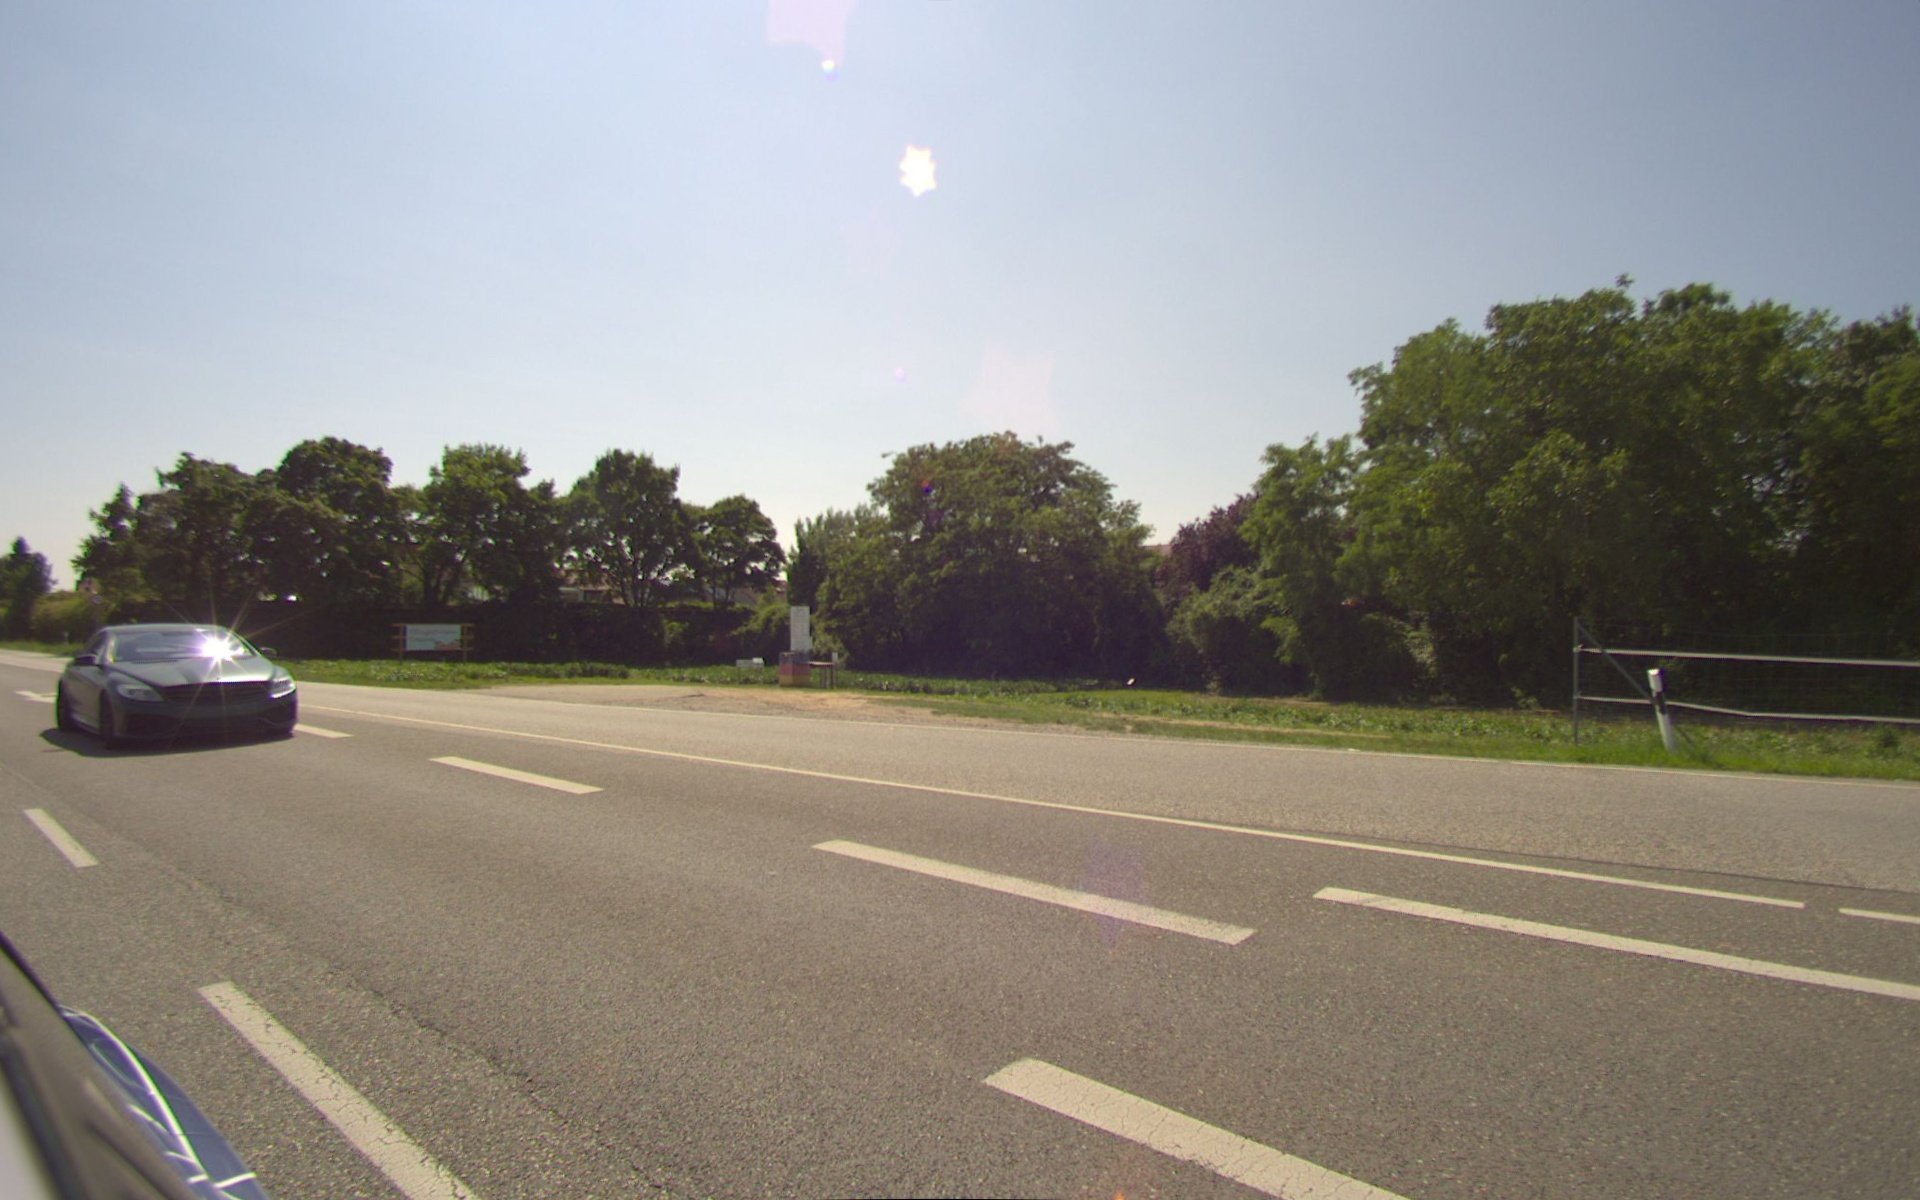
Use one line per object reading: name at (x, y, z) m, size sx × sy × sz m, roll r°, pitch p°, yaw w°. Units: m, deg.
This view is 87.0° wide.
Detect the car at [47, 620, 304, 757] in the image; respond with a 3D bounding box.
car at (-10.371, 1.023, 13.227) m, size 4.875 × 1.461 × 1.792 m, roll -2°, pitch -1°, yaw 42°
